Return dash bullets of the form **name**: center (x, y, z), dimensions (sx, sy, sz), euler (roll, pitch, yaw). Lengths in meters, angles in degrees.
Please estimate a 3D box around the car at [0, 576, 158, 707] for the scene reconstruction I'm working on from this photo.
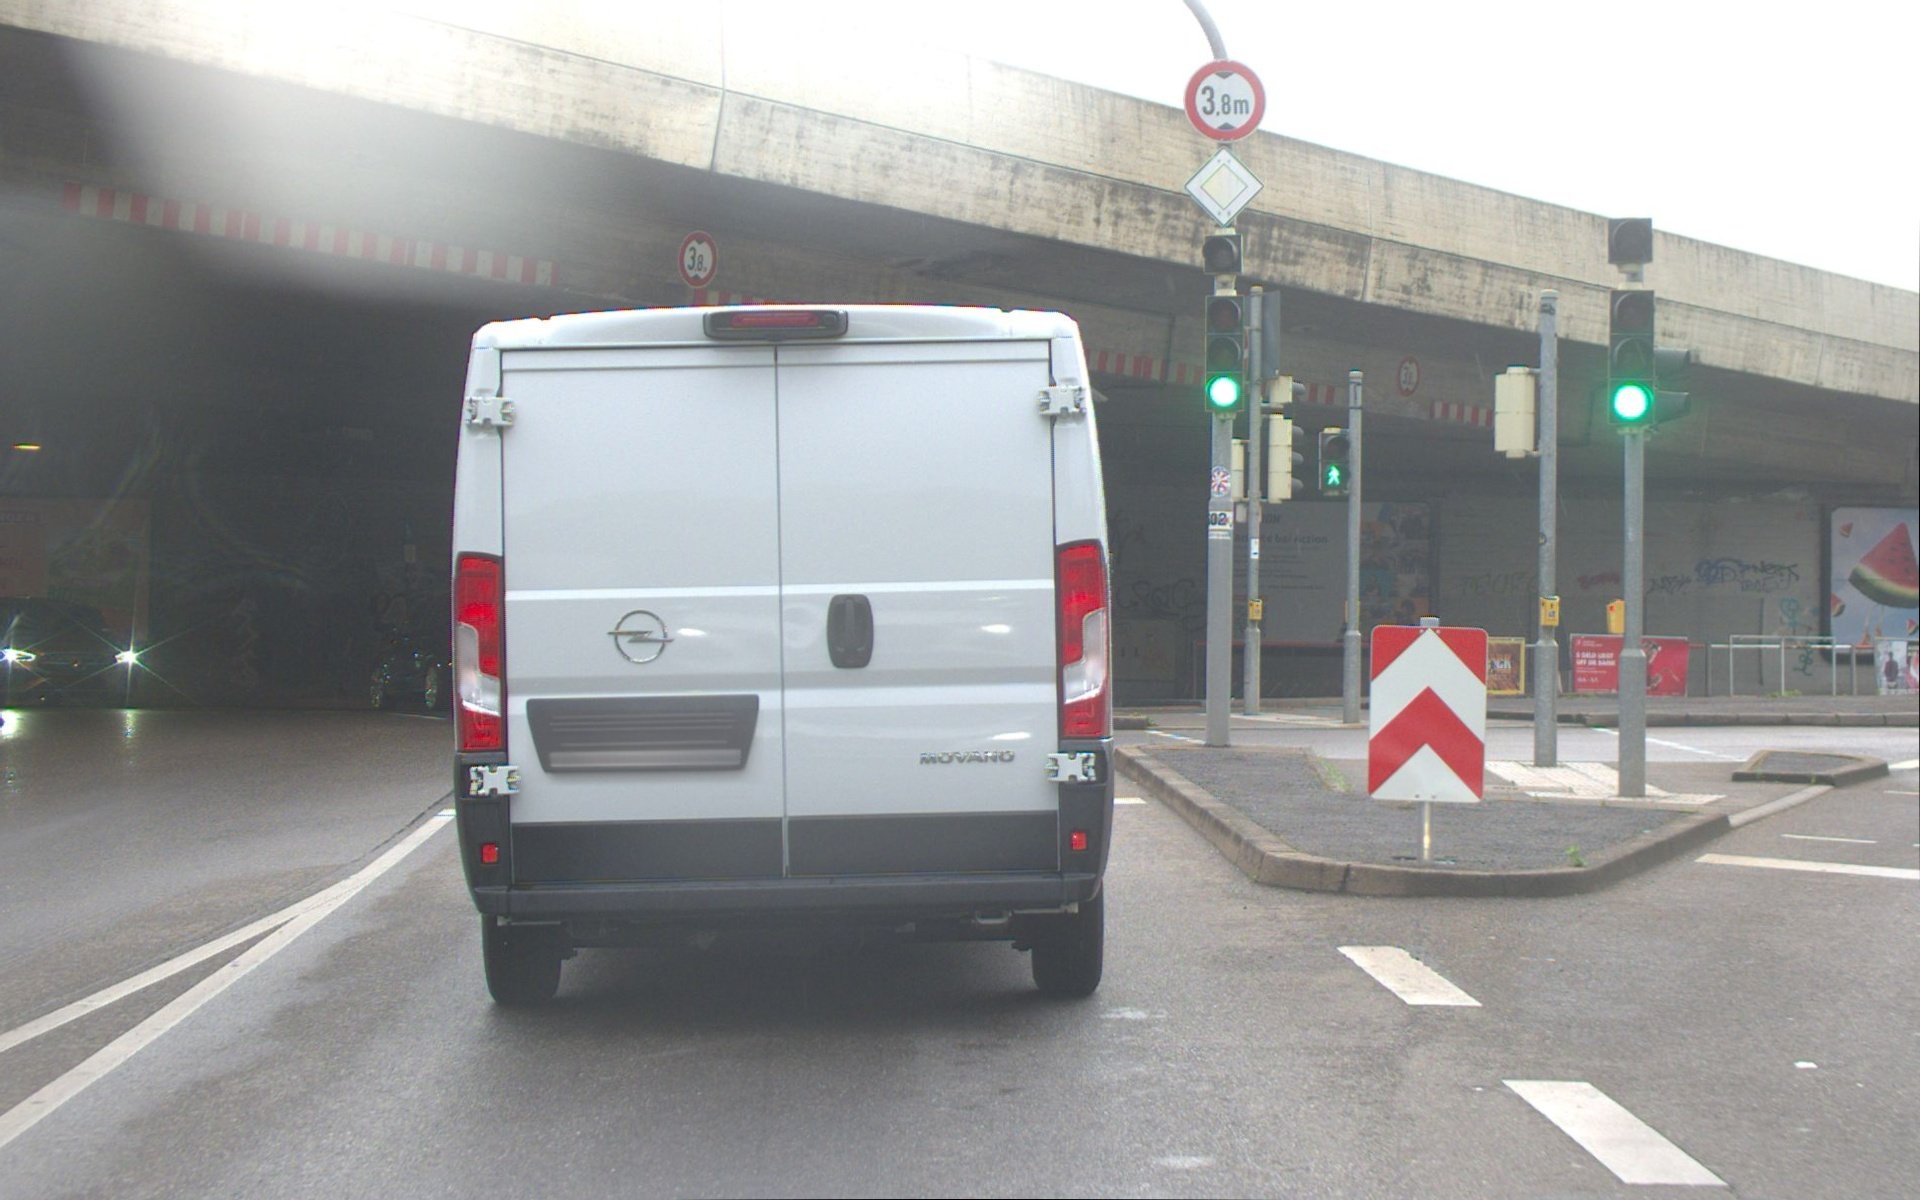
- **car**: center (-12.058, 0.494, 44.358), dimensions (1.993, 1.525, 4.500), euler (1, 1, -31)

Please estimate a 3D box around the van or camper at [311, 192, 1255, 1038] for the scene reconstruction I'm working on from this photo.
- **van or camper**: center (-0.576, 0.020, 12.455), dimensions (2.698, 2.408, 4.904), euler (1, 1, -1)
